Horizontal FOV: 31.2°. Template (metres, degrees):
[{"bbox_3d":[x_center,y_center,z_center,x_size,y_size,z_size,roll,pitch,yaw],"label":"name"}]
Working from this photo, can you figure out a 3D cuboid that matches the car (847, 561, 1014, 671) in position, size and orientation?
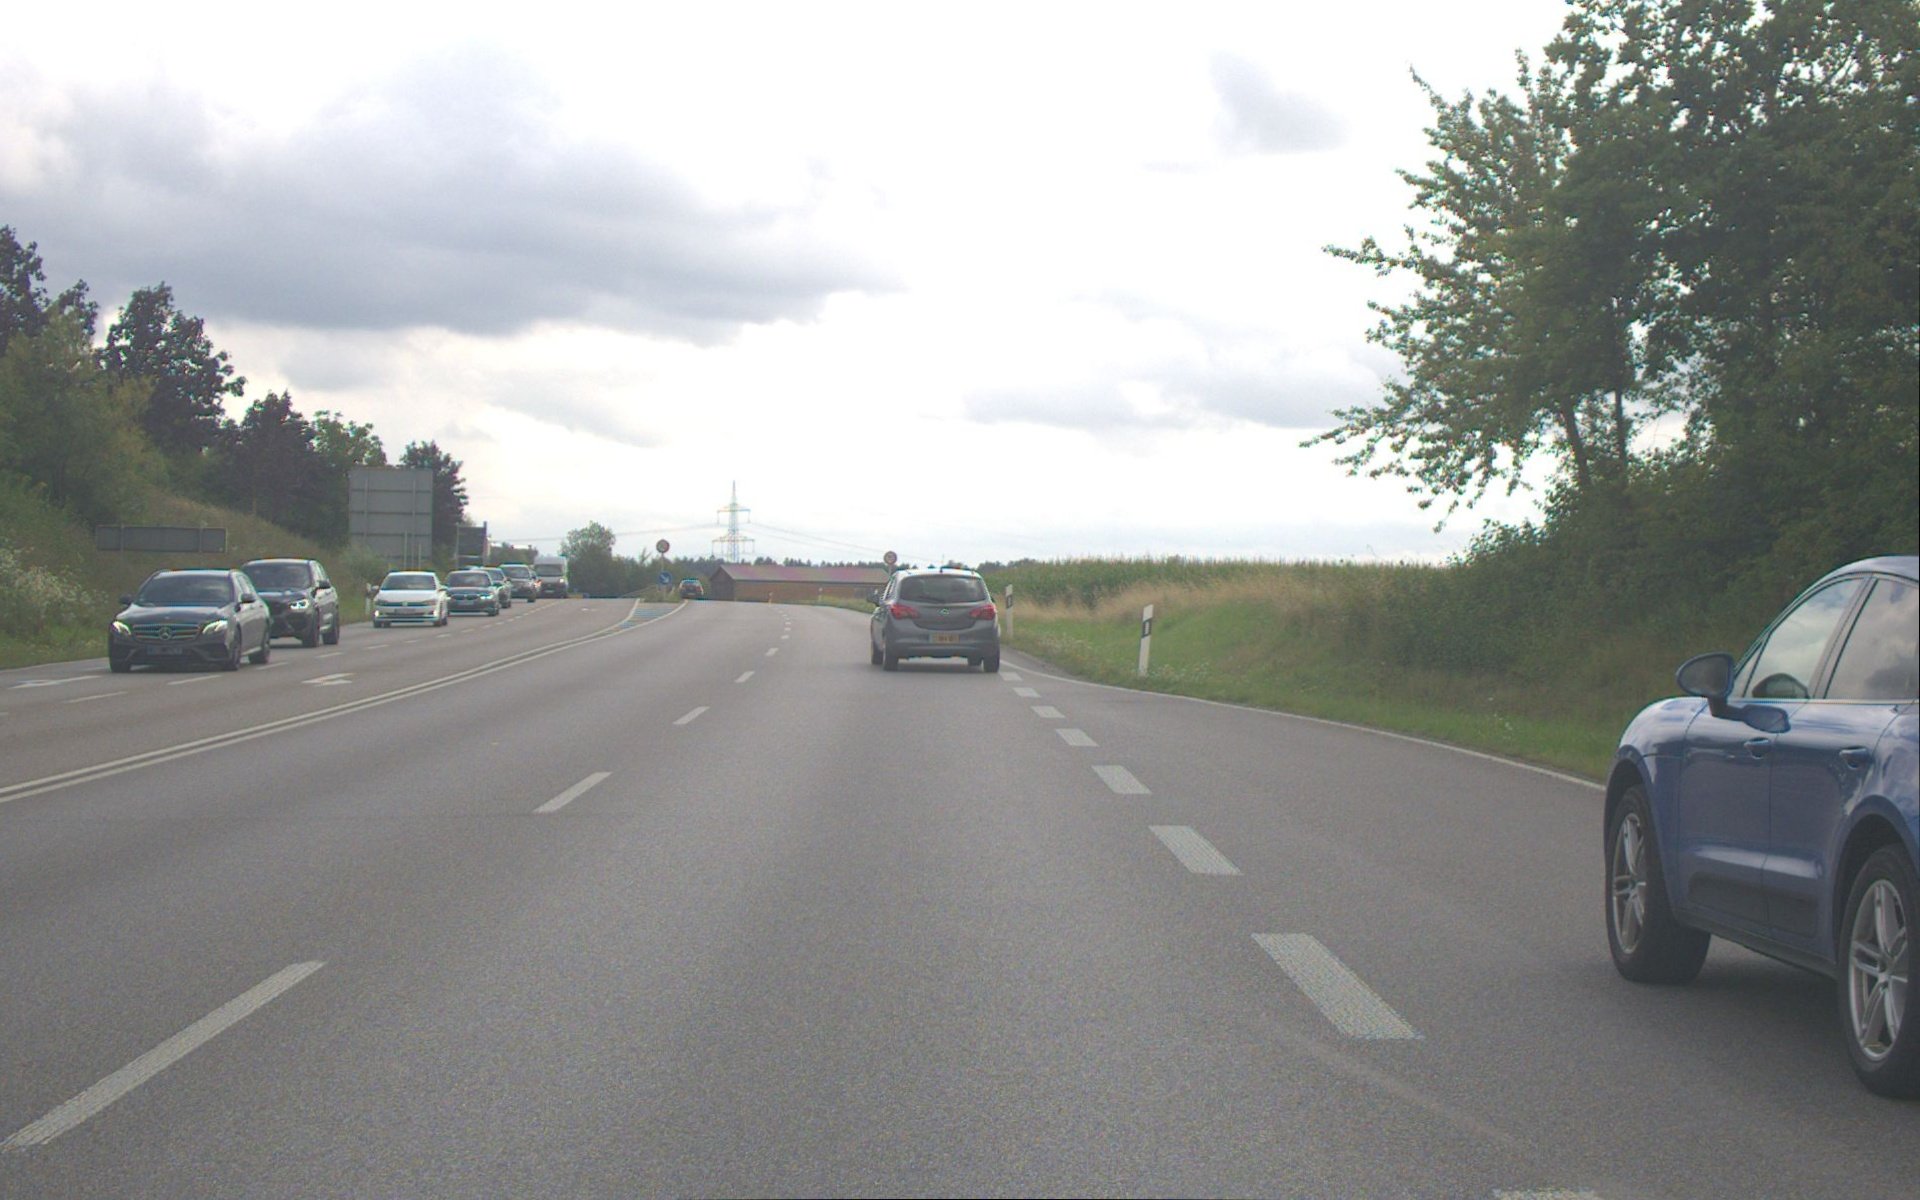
[{"bbox_3d":[-0.484,0.208,50.980,1.993,1.530,4.001,1,1,-7],"label":"car"}]

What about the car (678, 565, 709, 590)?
[{"bbox_3d":[-18.697,-1.583,241.596,1.993,1.709,4.000,0,1,-2],"label":"car"}]

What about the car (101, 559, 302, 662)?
[{"bbox_3d":[-11.456,0.124,52.265,1.993,1.489,4.993,0,1,0],"label":"car"}]

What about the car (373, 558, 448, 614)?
[{"bbox_3d":[-14.332,-0.385,89.811,1.667,1.437,4.147,0,1,-5],"label":"car"}]

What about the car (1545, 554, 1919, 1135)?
[{"bbox_3d":[3.493,0.678,11.330,1.993,1.565,4.757,3,1,-3],"label":"car"}]

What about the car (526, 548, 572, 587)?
[{"bbox_3d":[-23.944,-1.906,200.474,2.363,2.204,5.923,0,1,-4],"label":"car"}]

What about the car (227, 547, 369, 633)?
[{"bbox_3d":[-12.753,-0.212,66.493,1.993,1.605,4.993,0,1,-3],"label":"car"}]

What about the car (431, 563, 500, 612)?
[{"bbox_3d":[-15.760,-0.412,109.776,1.993,1.503,4.001,0,1,-6],"label":"car"}]

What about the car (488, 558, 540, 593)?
[{"bbox_3d":[-19.590,-1.072,151.148,1.993,1.503,4.001,0,1,-3],"label":"car"}]
